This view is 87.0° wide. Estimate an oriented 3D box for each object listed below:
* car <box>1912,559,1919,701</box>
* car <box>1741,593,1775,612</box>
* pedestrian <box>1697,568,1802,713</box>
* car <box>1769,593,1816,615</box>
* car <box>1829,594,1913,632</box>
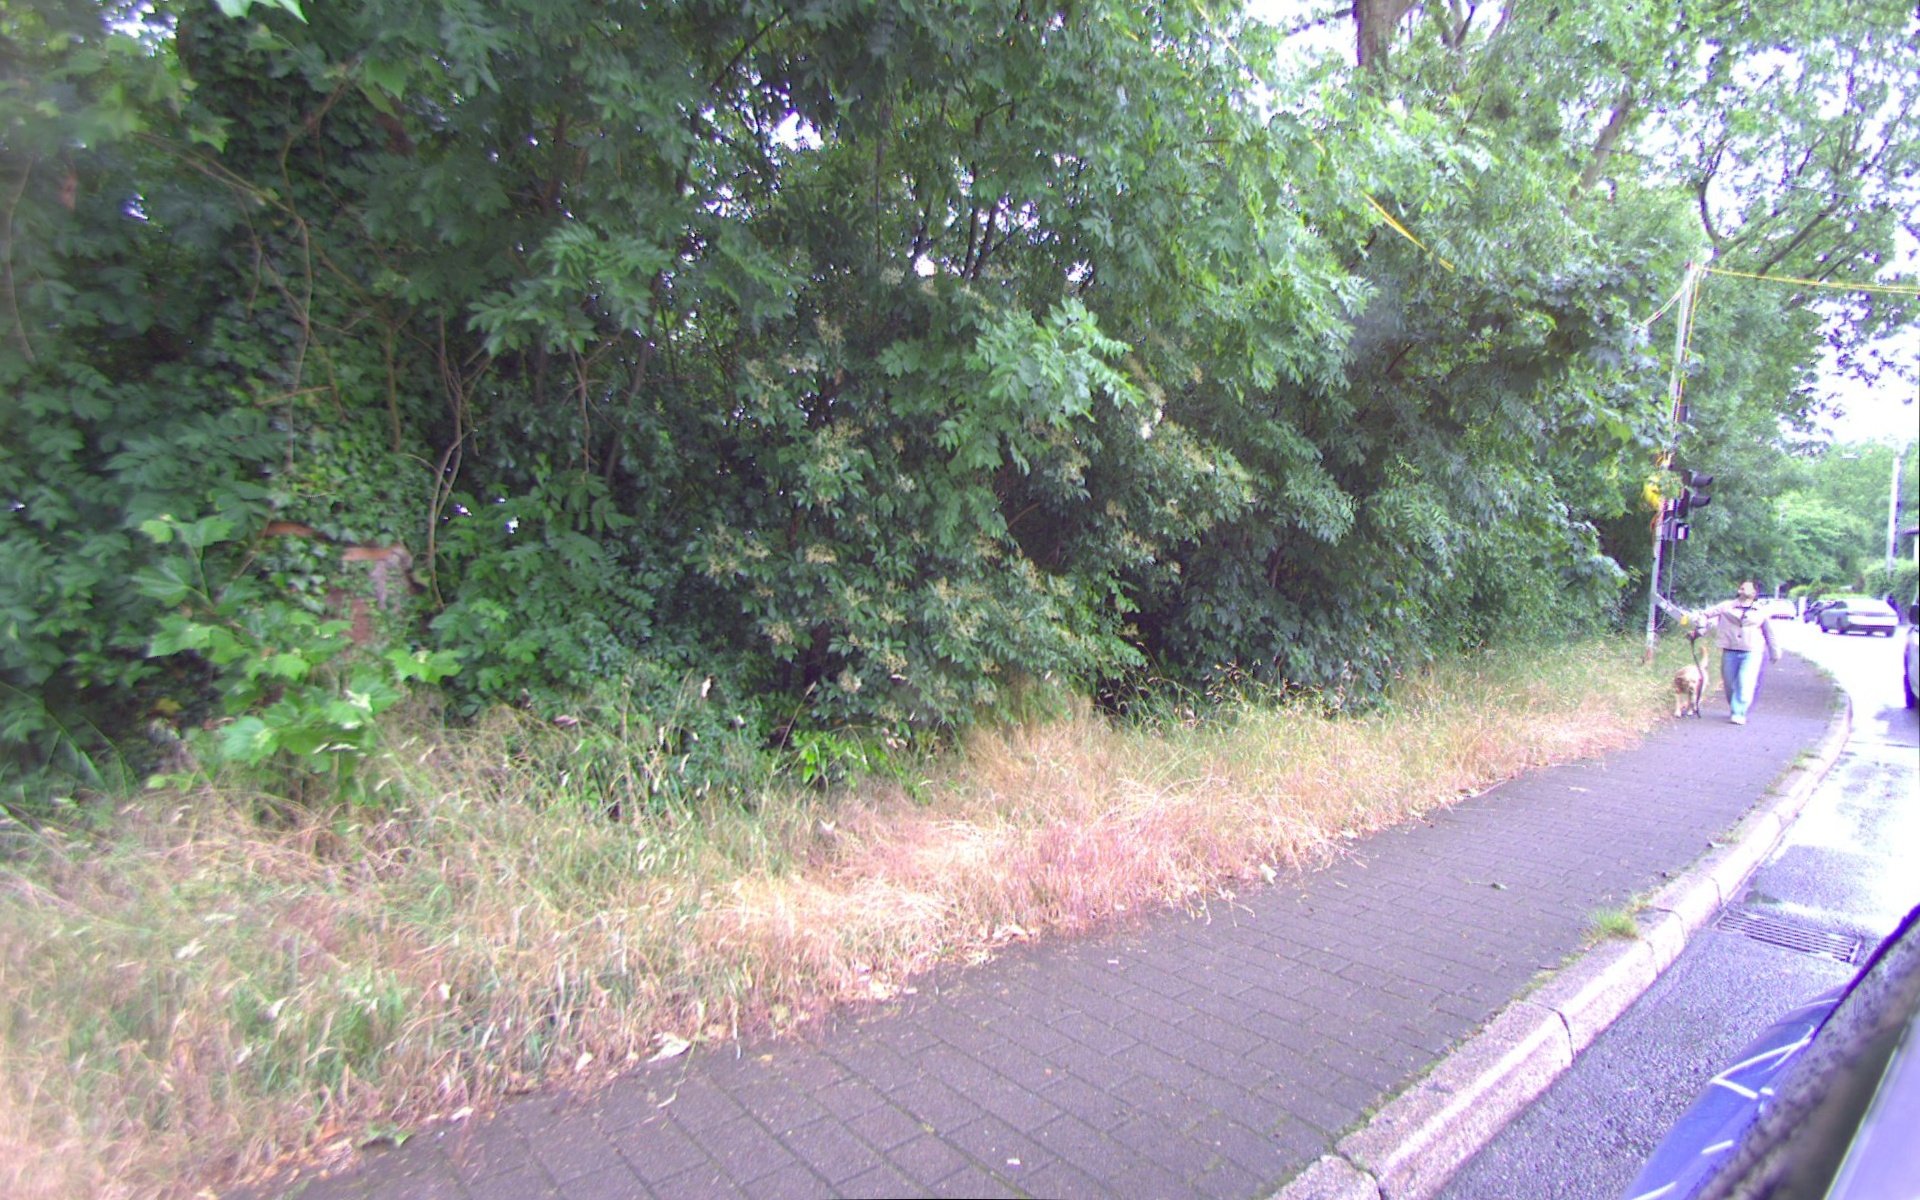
[{"bbox_3d":[13.560,0.420,12.735,2.095,1.943,5.014,1,0,41],"label":"car"},{"bbox_3d":[64.945,0.200,82.367,1.676,1.445,3.734,1,1,31],"label":"car"},{"bbox_3d":[8.740,0.421,11.209,0.771,1.517,0.734,0,2,-42],"label":"pedestrian"},{"bbox_3d":[60.751,0.279,73.915,2.055,1.504,4.508,1,1,33],"label":"car"},{"bbox_3d":[39.244,0.532,43.722,1.845,1.547,4.764,0,0,32],"label":"car"}]
